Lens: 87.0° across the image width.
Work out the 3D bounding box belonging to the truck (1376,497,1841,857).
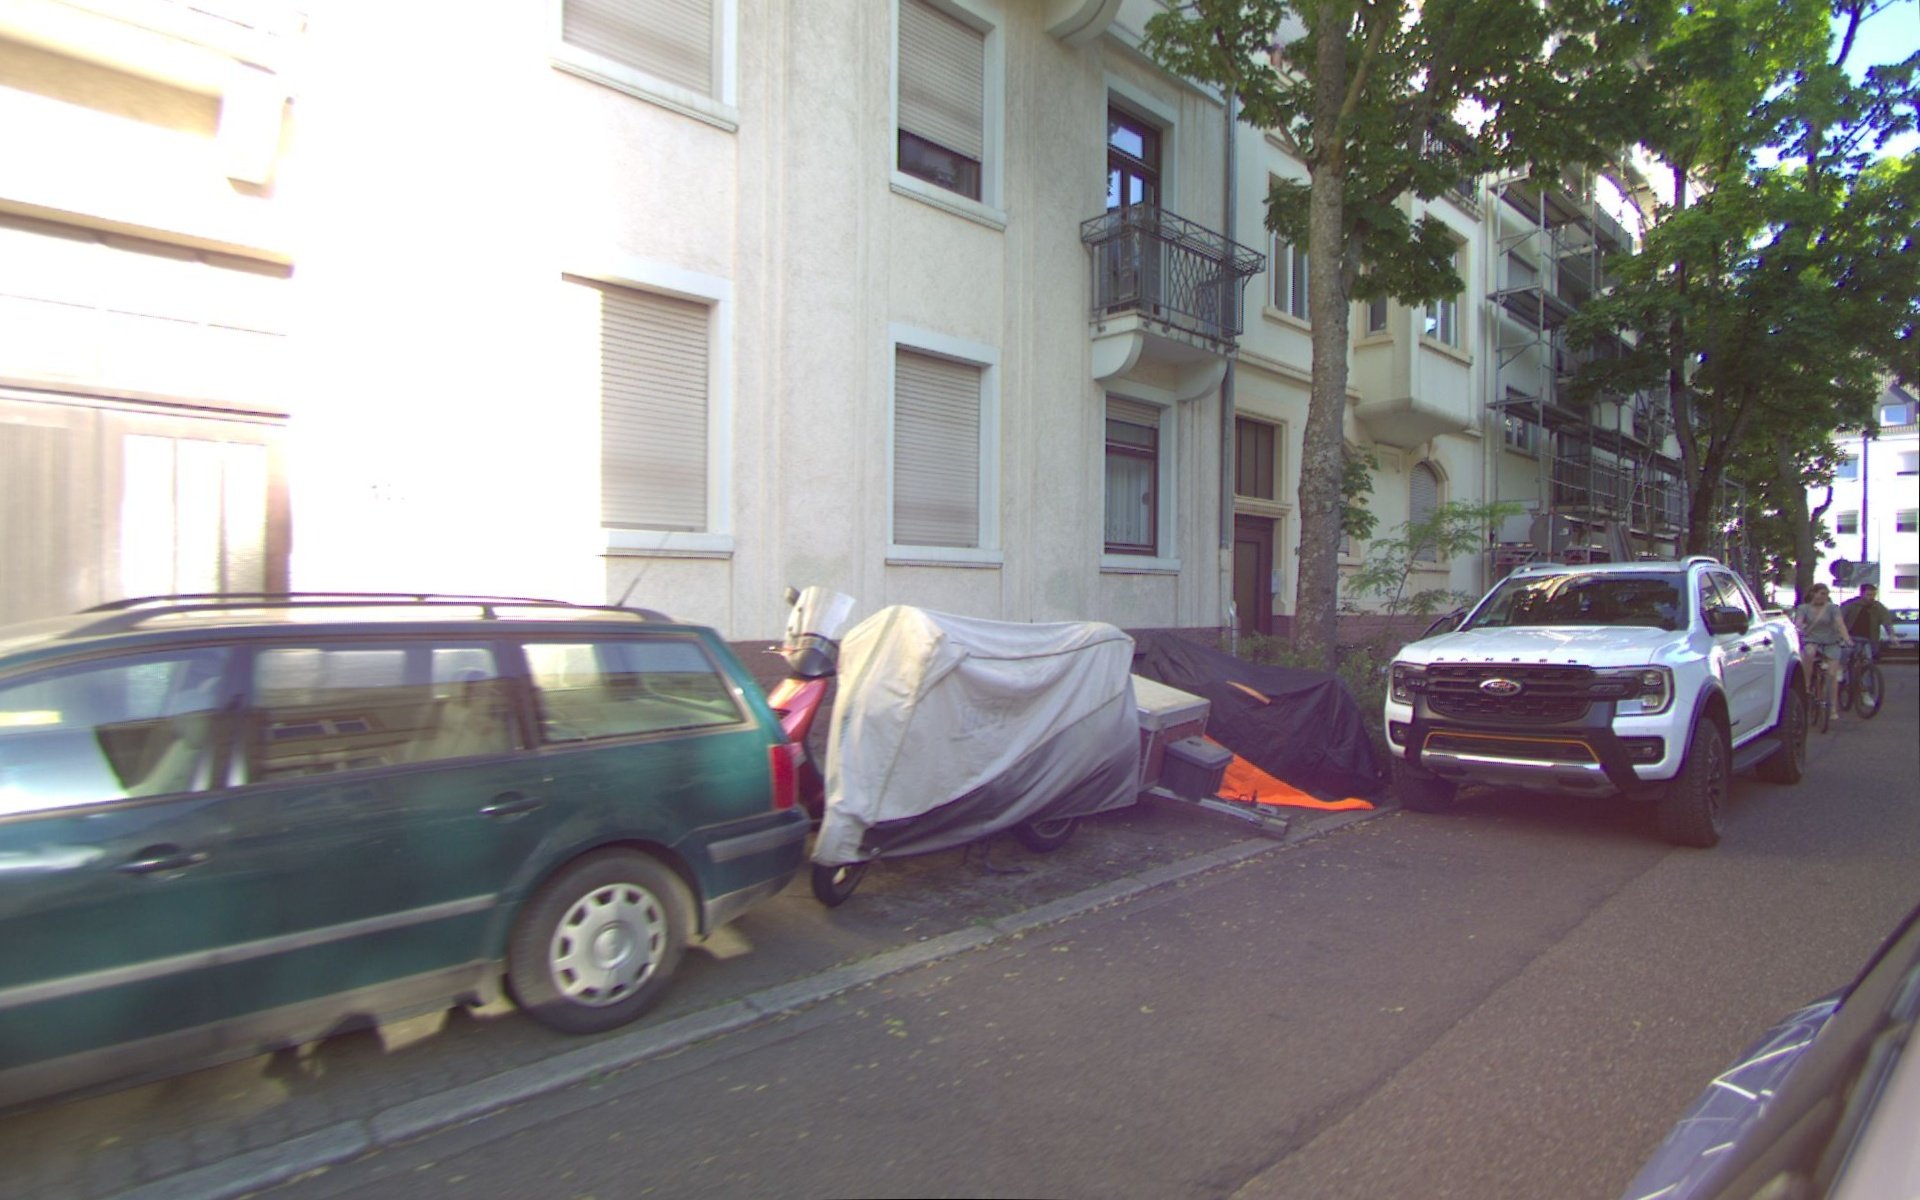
[{"bbox_3d":[5.448,0.415,8.078,5.447,1.974,1.830,0,0,-43],"label":"truck"}]

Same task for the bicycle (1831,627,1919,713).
[{"bbox_3d":[12.816,0.940,14.154,1.826,1.073,0.740,-1,0,-43],"label":"bicycle"}]

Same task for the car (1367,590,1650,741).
[{"bbox_3d":[6.679,0.639,12.103,4.356,1.439,1.682,0,2,-43],"label":"car"}]

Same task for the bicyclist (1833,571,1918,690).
[{"bbox_3d":[12.774,0.409,14.116,0.964,1.585,0.756,0,-1,-42],"label":"bicyclist"}]

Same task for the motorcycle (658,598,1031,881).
[{"bbox_3d":[-0.634,0.709,6.215,2.195,1.434,0.862,0,0,-42],"label":"motorcycle"}]

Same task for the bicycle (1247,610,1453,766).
[{"bbox_3d":[3.678,0.778,9.662,0.576,1.321,1.760,0,0,-44],"label":"bicycle"}]

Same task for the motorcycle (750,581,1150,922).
[{"bbox_3d":[0.016,0.666,5.529,2.101,1.505,0.931,0,0,-42],"label":"motorcycle"}]

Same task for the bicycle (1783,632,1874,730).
[{"bbox_3d":[10.663,0.957,12.408,0.705,1.059,1.828,-4,-2,44],"label":"bicycle"}]

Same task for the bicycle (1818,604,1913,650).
[{"bbox_3d":[27.265,0.796,30.517,1.959,1.169,0.743,5,3,34],"label":"bicycle"}]

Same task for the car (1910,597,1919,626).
[{"bbox_3d":[51.865,0.626,51.916,4.476,1.526,1.916,1,0,42],"label":"car"}]

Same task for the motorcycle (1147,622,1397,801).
[{"bbox_3d":[2.332,0.813,7.760,1.735,1.256,0.701,0,0,9],"label":"motorcycle"}]

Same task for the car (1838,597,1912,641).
[{"bbox_3d":[34.256,0.664,37.844,4.431,1.425,1.664,0,4,-43],"label":"car"}]

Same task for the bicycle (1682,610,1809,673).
[{"bbox_3d":[15.335,0.787,19.828,0.732,1.135,1.933,0,0,-13],"label":"bicycle"}]

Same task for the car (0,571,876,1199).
[{"bbox_3d":[-2.680,0.693,3.272,4.699,1.548,1.754,0,2,-42],"label":"car"}]

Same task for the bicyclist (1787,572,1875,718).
[{"bbox_3d":[10.707,0.536,12.439,0.714,1.711,0.966,-3,-2,44],"label":"bicyclist"}]

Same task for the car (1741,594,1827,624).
[{"bbox_3d":[46.187,0.485,56.792,3.690,1.627,1.625,0,0,40],"label":"car"}]

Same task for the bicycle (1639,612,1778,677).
[{"bbox_3d":[14.079,0.810,19.092,0.733,1.135,1.984,0,0,-32],"label":"bicycle"}]

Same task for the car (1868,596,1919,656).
[{"bbox_3d":[26.180,0.666,27.499,3.895,1.555,1.805,0,0,-42],"label":"car"}]

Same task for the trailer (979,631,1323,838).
[{"bbox_3d":[1.287,0.813,6.935,2.072,1.126,1.102,0,0,34],"label":"trailer"}]
